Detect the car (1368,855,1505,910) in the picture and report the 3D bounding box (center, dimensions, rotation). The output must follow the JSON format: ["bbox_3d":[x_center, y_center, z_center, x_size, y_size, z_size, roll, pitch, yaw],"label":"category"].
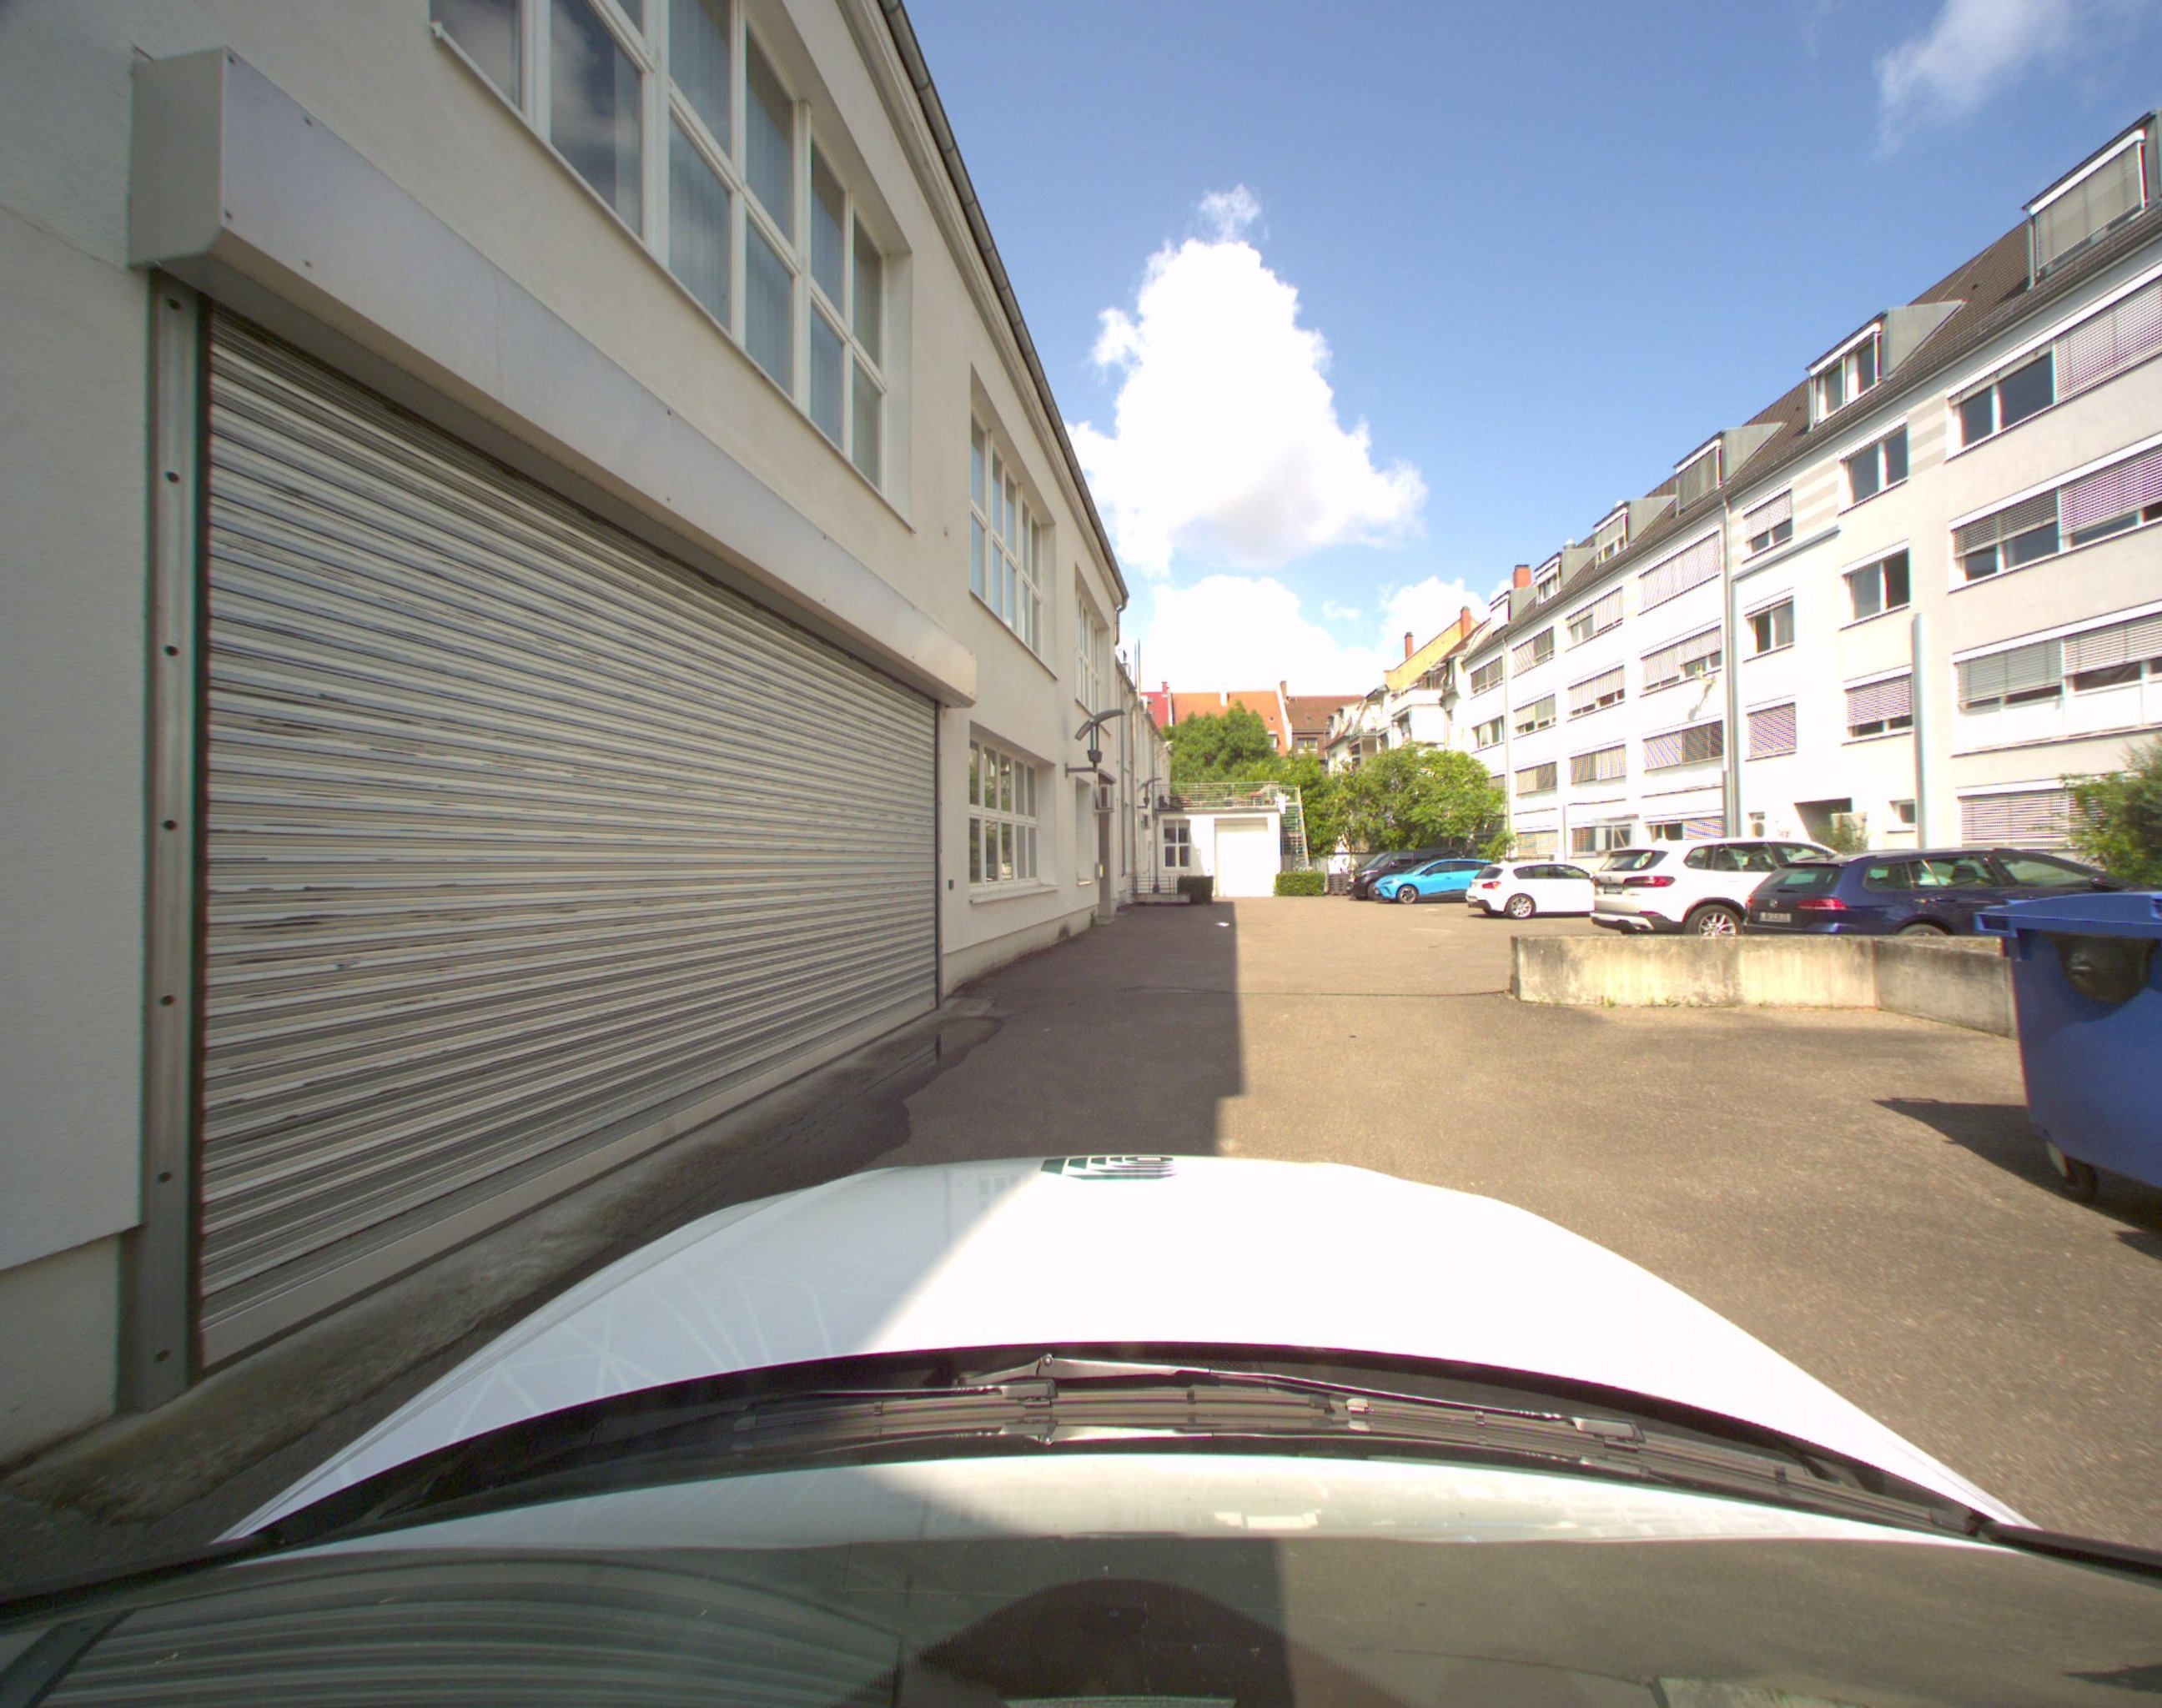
[{"bbox_3d":[12.144,0.958,28.017,3.968,1.573,1.631,-3,2,5],"label":"car"}]

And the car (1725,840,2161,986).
[{"bbox_3d":[10.659,0.649,9.965,4.093,1.606,1.757,0,1,4],"label":"car"}]

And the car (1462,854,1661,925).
[{"bbox_3d":[11.958,0.864,20.468,3.968,1.444,1.631,-3,2,4],"label":"car"}]

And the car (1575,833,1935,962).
[{"bbox_3d":[10.386,0.622,12.848,3.968,1.745,1.952,-2,1,5],"label":"car"}]

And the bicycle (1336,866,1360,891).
[{"bbox_3d":[13.096,1.198,40.004,0.638,1.117,1.859,0,1,2],"label":"bicycle"}]

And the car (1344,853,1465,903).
[{"bbox_3d":[12.136,0.887,30.725,3.968,1.817,1.666,0,1,4],"label":"car"}]

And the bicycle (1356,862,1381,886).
[{"bbox_3d":[14.240,0.962,40.378,0.638,1.117,1.859,0,1,2],"label":"bicycle"}]
